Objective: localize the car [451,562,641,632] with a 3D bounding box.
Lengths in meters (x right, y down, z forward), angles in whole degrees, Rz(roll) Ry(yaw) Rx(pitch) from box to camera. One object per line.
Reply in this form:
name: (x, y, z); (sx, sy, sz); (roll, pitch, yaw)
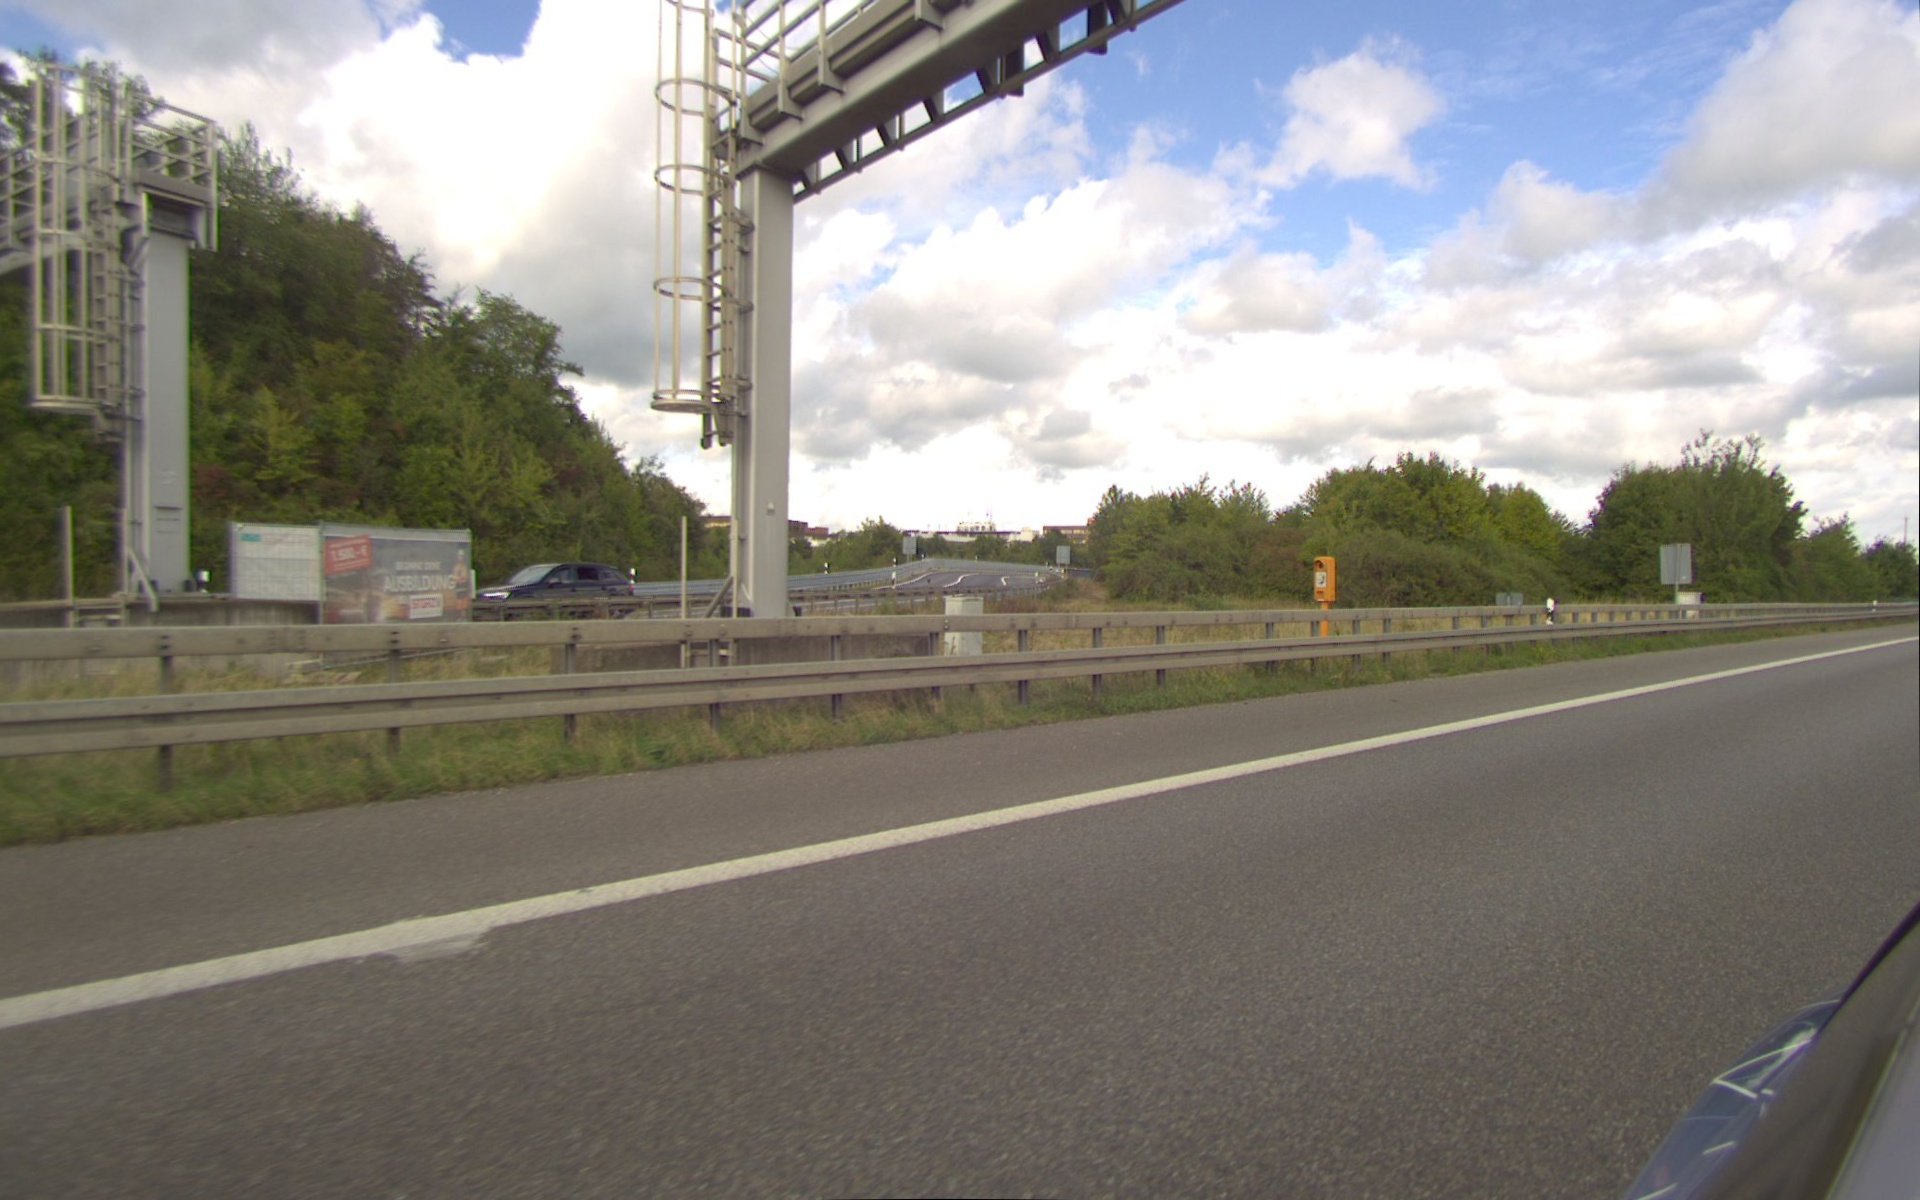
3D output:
car: (-10.719, -0.138, 26.619); (1.855, 1.656, 4.826); (1, 1, 21)
